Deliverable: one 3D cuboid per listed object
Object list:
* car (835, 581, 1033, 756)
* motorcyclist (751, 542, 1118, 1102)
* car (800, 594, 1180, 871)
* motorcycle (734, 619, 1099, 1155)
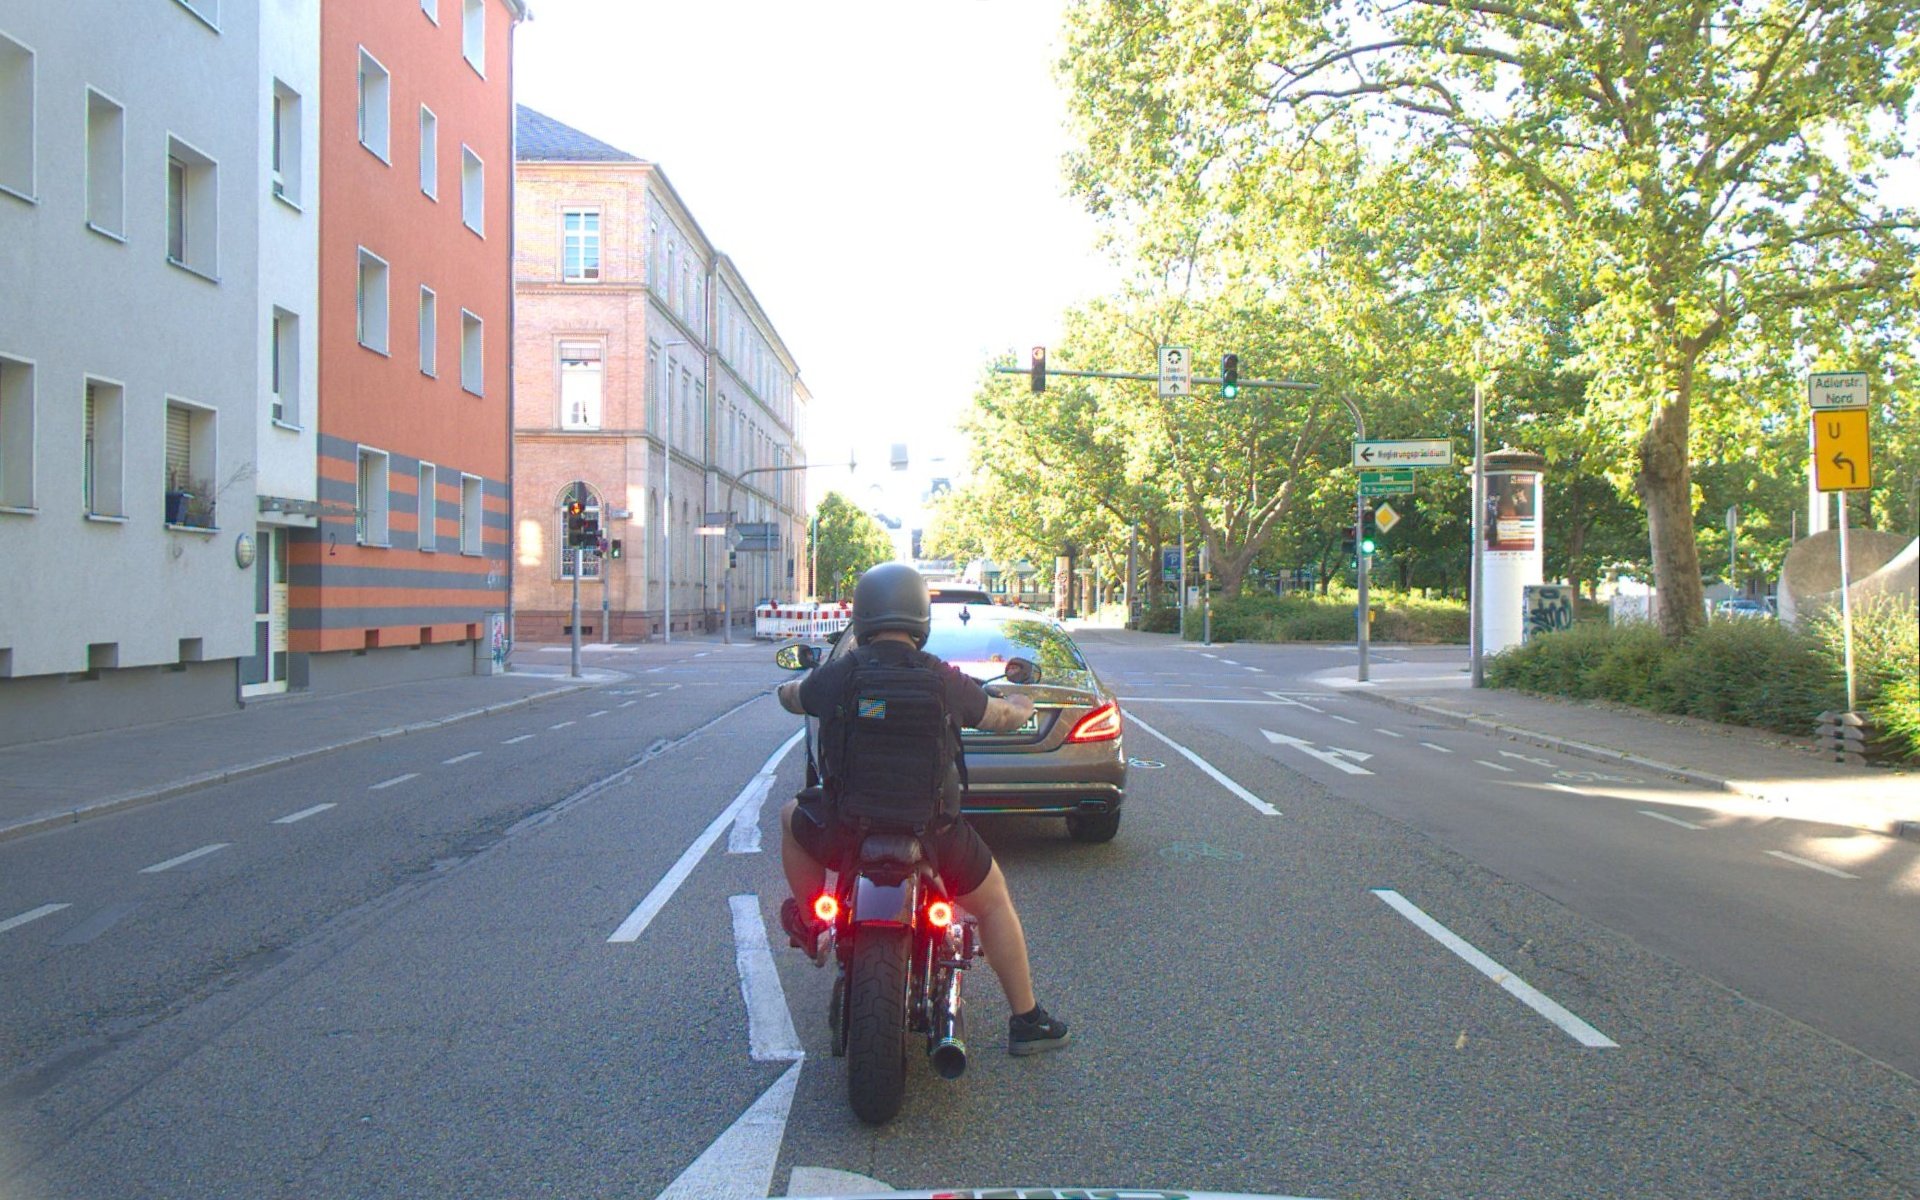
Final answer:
[{"bbox_3d":[-0.344,0.606,16.756,1.777,1.563,3.846,0,0,-3],"label":"car"},{"bbox_3d":[-0.079,0.647,5.257,1.039,1.610,0.908,1,0,-1],"label":"motorcyclist"},{"bbox_3d":[-0.026,0.698,11.068,1.867,1.466,4.280,0,0,-9],"label":"car"},{"bbox_3d":[-0.129,0.772,5.525,0.942,1.380,2.319,1,0,-1],"label":"motorcycle"}]
